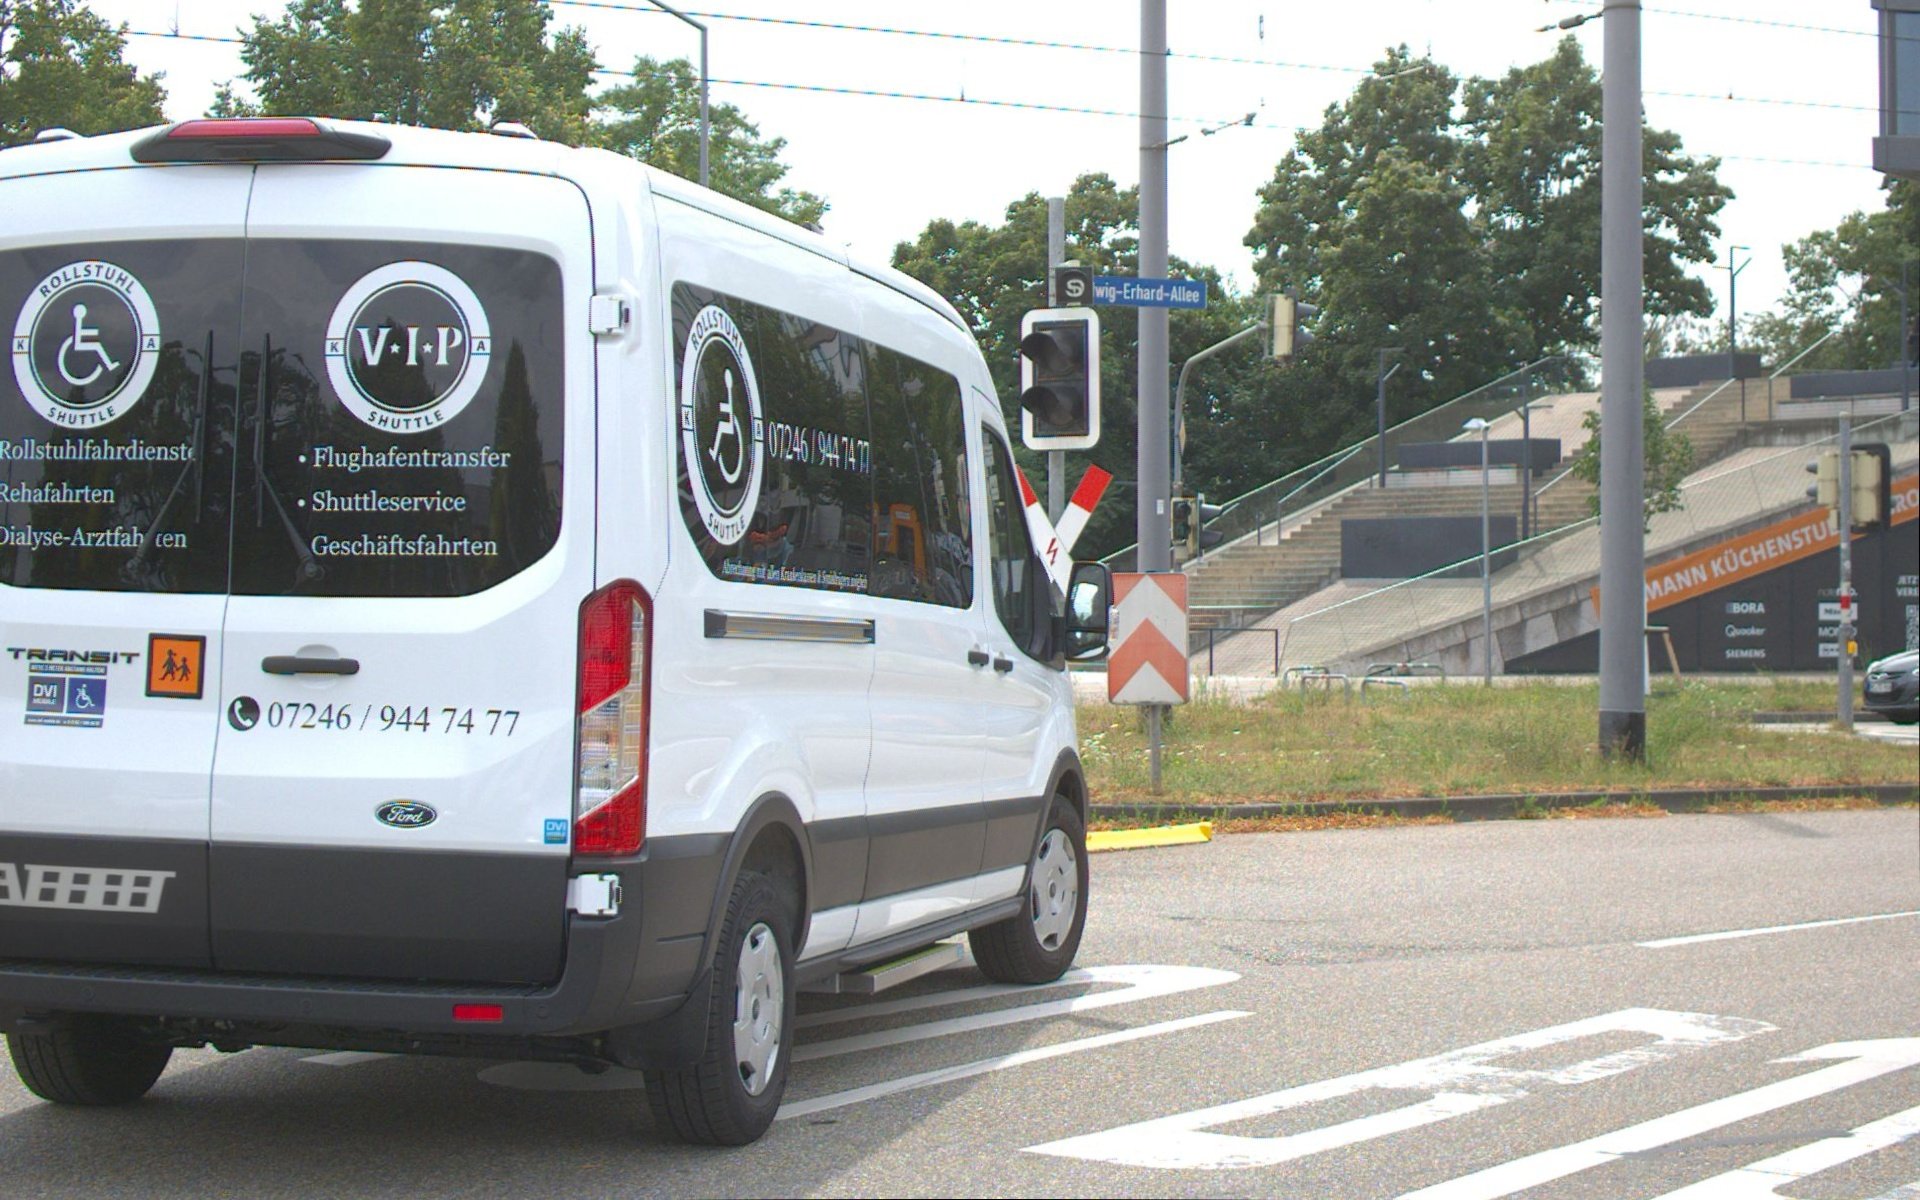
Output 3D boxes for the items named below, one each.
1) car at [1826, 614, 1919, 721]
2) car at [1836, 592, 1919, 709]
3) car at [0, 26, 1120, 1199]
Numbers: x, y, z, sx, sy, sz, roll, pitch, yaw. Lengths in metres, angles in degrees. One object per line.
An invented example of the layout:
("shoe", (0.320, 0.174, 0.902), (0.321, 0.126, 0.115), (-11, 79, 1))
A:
("car", (14.570, 0.939, 48.915), (3.986, 1.453, 1.849), (0, 1, -18))
("car", (13.977, 0.633, 44.754), (4.721, 1.453, 1.849), (0, 1, -18))
("car", (-1.076, 0.071, 10.541), (2.127, 2.688, 5.628), (0, 0, 13))
